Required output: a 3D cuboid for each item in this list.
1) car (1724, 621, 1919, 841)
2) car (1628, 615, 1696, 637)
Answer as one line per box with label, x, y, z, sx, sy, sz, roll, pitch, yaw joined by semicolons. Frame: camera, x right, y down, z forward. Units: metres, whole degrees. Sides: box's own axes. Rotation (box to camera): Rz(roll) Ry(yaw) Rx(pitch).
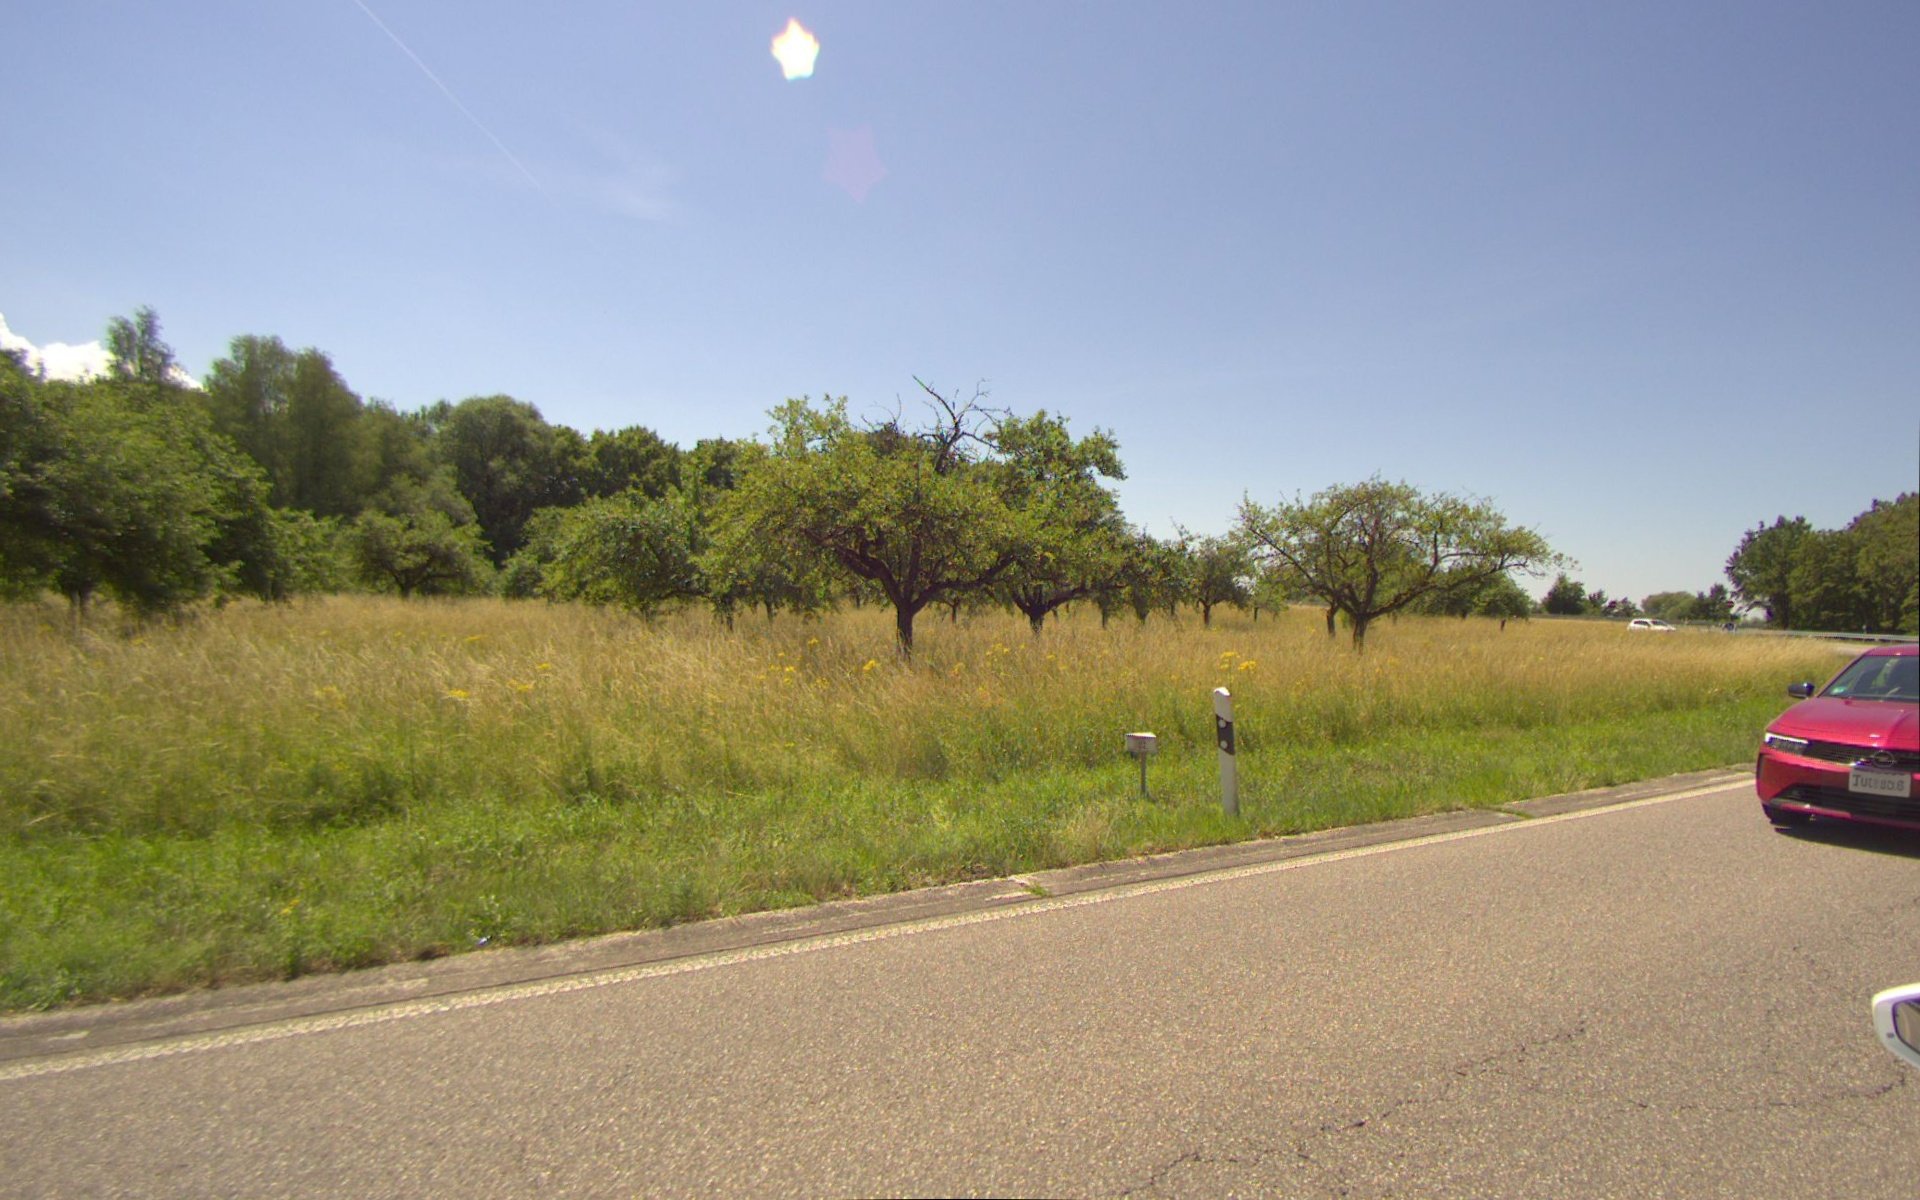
car;8.171;1.024;8.165;4.355;1.477;1.811;4;-5;-34
car;55.942;2.020;80.104;1.800;1.527;4.153;1;1;-19
